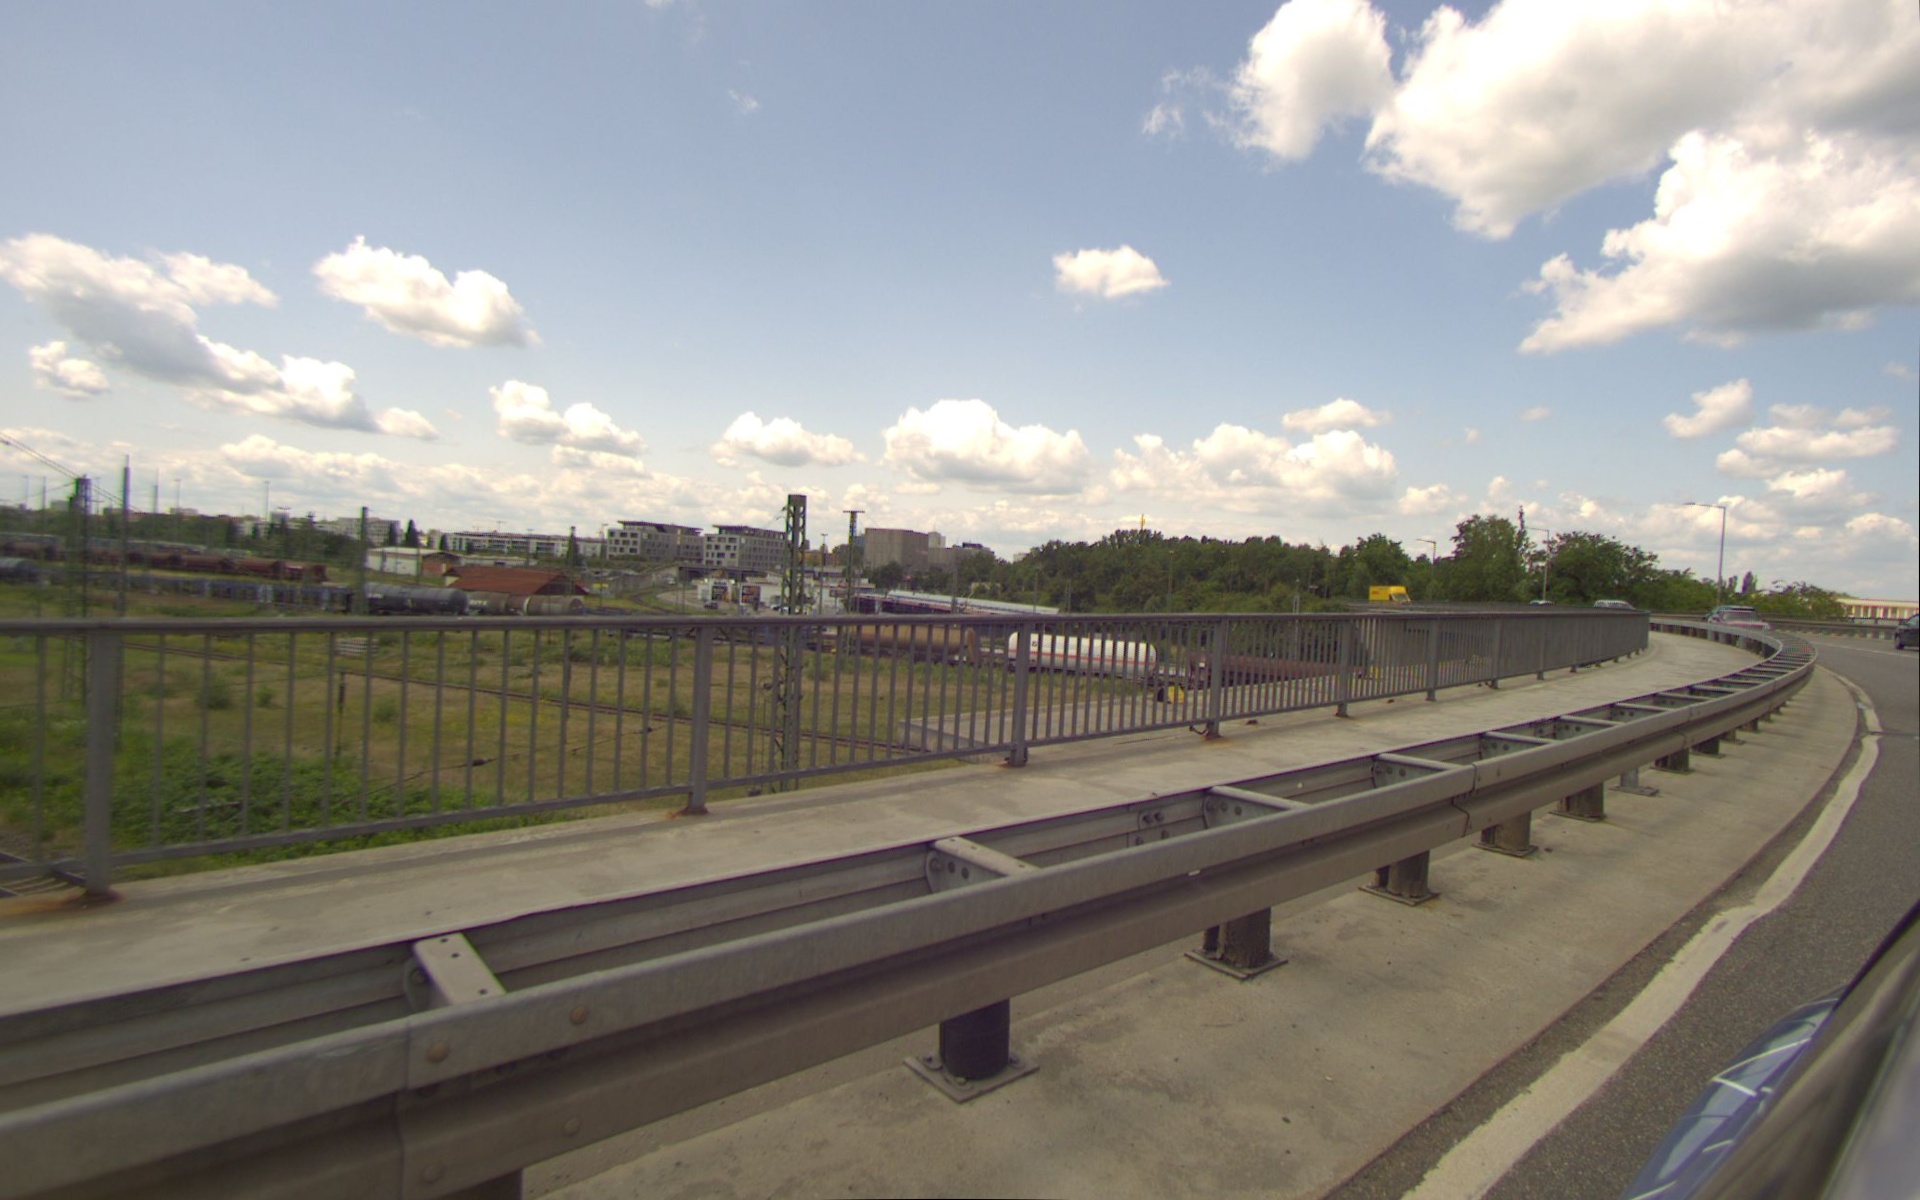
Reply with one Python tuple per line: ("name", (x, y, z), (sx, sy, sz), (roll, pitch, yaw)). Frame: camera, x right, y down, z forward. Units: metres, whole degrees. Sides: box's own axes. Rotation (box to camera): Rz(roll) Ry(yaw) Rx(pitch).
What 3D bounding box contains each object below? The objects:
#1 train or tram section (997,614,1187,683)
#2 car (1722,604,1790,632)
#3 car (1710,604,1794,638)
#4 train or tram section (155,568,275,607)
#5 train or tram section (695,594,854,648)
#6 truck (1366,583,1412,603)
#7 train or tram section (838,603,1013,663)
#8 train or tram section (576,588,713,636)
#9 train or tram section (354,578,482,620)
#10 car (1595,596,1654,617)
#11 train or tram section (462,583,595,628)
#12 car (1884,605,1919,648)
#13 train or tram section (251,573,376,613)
("train or tram section", (11.154, 4.024, 88.047), (16.861, 4.202, 3.179), (4, 5, 35))
("car", (45.134, 1.006, 57.488), (1.802, 1.469, 4.700), (1, 0, 23))
("car", (35.161, 0.881, 45.059), (1.807, 1.355, 3.972), (2, 1, 21))
("train or tram section", (-95.075, -1.666, 129.158), (15.737, 4.202, 3.200), (3, 4, 15))
("train or tram section", (-19.372, 2.042, 104.725), (17.503, 4.202, 3.189), (3, 4, 24))
("truck", (48.759, -0.848, 115.103), (1.960, 2.038, 6.155), (2, 2, -6))
("train or tram section", (-3.585, 3.023, 97.066), (17.535, 4.202, 3.183), (4, 4, 28))
("train or tram section", (-34.700, 1.206, 110.982), (15.770, 4.202, 3.193), (3, 4, 20))
("train or tram section", (-64.715, -0.201, 120.785), (15.743, 4.202, 3.199), (3, 4, 16))
("car", (43.259, 0.409, 65.994), (1.929, 1.355, 3.984), (-1, 0, 13))
("train or tram section", (-49.589, 0.508, 116.142), (15.752, 4.202, 3.197), (3, 4, 18))
("car", (34.911, 0.948, 36.307), (1.805, 1.470, 3.883), (1, 0, 30))
("train or tram section", (-79.903, -0.934, 125.042), (15.737, 4.202, 3.200), (3, 4, 15))
